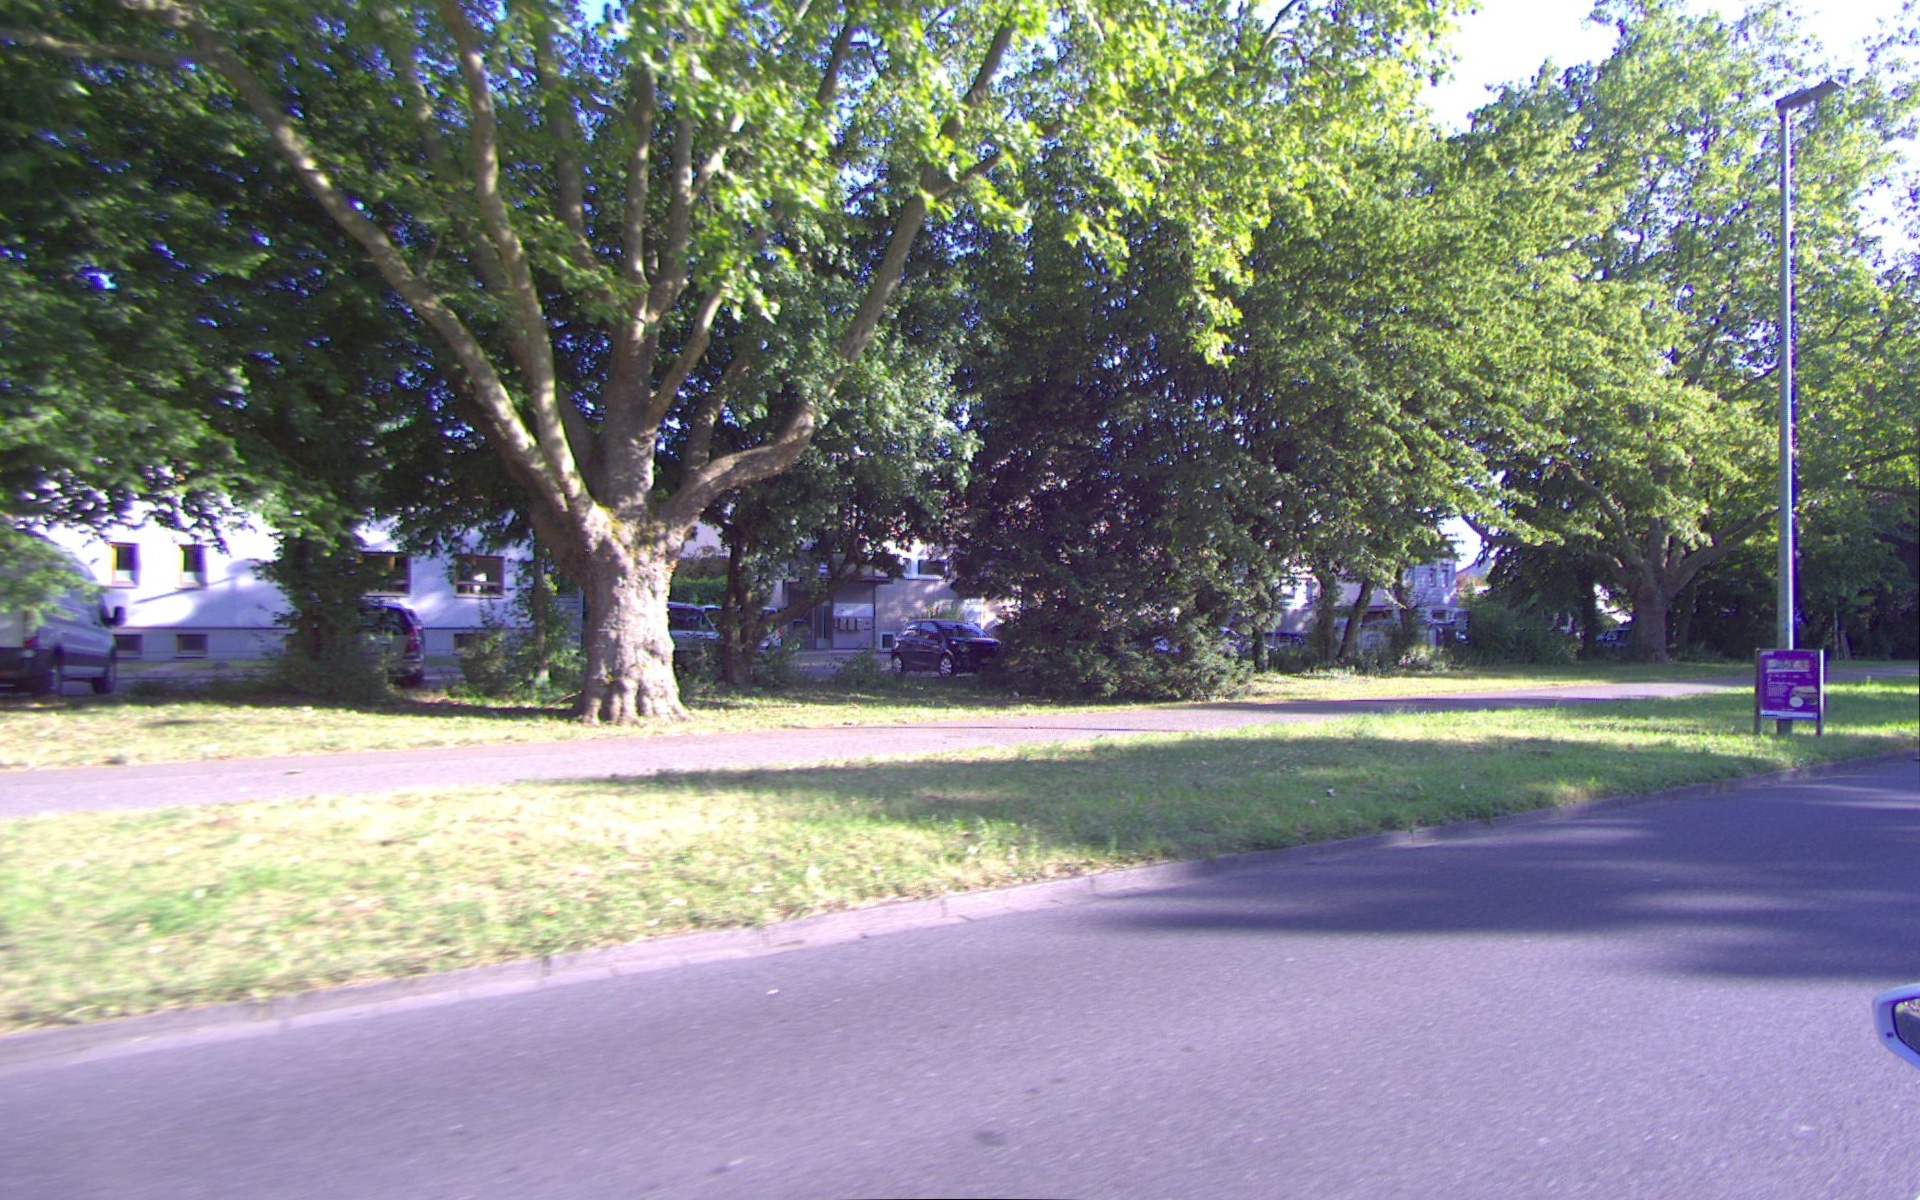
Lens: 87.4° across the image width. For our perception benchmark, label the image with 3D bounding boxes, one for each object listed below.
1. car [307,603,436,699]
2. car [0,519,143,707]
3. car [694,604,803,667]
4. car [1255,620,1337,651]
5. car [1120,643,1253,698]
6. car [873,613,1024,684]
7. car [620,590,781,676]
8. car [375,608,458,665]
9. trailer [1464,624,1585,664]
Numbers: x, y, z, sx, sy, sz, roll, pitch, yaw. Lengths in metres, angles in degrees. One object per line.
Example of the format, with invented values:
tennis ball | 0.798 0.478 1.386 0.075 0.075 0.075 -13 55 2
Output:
car | -10.520 0.849 17.940 1.794 1.520 3.706 1 -1 -32
car | -14.681 0.262 15.642 2.161 2.534 5.405 1 -3 -30
car | -7.372 1.183 34.657 1.981 2.040 4.513 2 -1 -36
car | 18.612 1.954 55.748 1.914 1.622 3.954 1 -1 -40
car | 6.864 2.105 30.724 1.751 1.483 3.701 2 -1 -38
car | -0.366 1.140 25.017 1.893 1.528 3.962 1 0 -34
car | -5.527 0.677 21.056 1.935 1.617 4.096 1 -2 -36
car | -16.208 1.066 29.876 1.904 1.572 3.965 1 -2 -32
trailer | 23.463 1.796 41.875 1.981 1.576 3.959 1 -1 -36
